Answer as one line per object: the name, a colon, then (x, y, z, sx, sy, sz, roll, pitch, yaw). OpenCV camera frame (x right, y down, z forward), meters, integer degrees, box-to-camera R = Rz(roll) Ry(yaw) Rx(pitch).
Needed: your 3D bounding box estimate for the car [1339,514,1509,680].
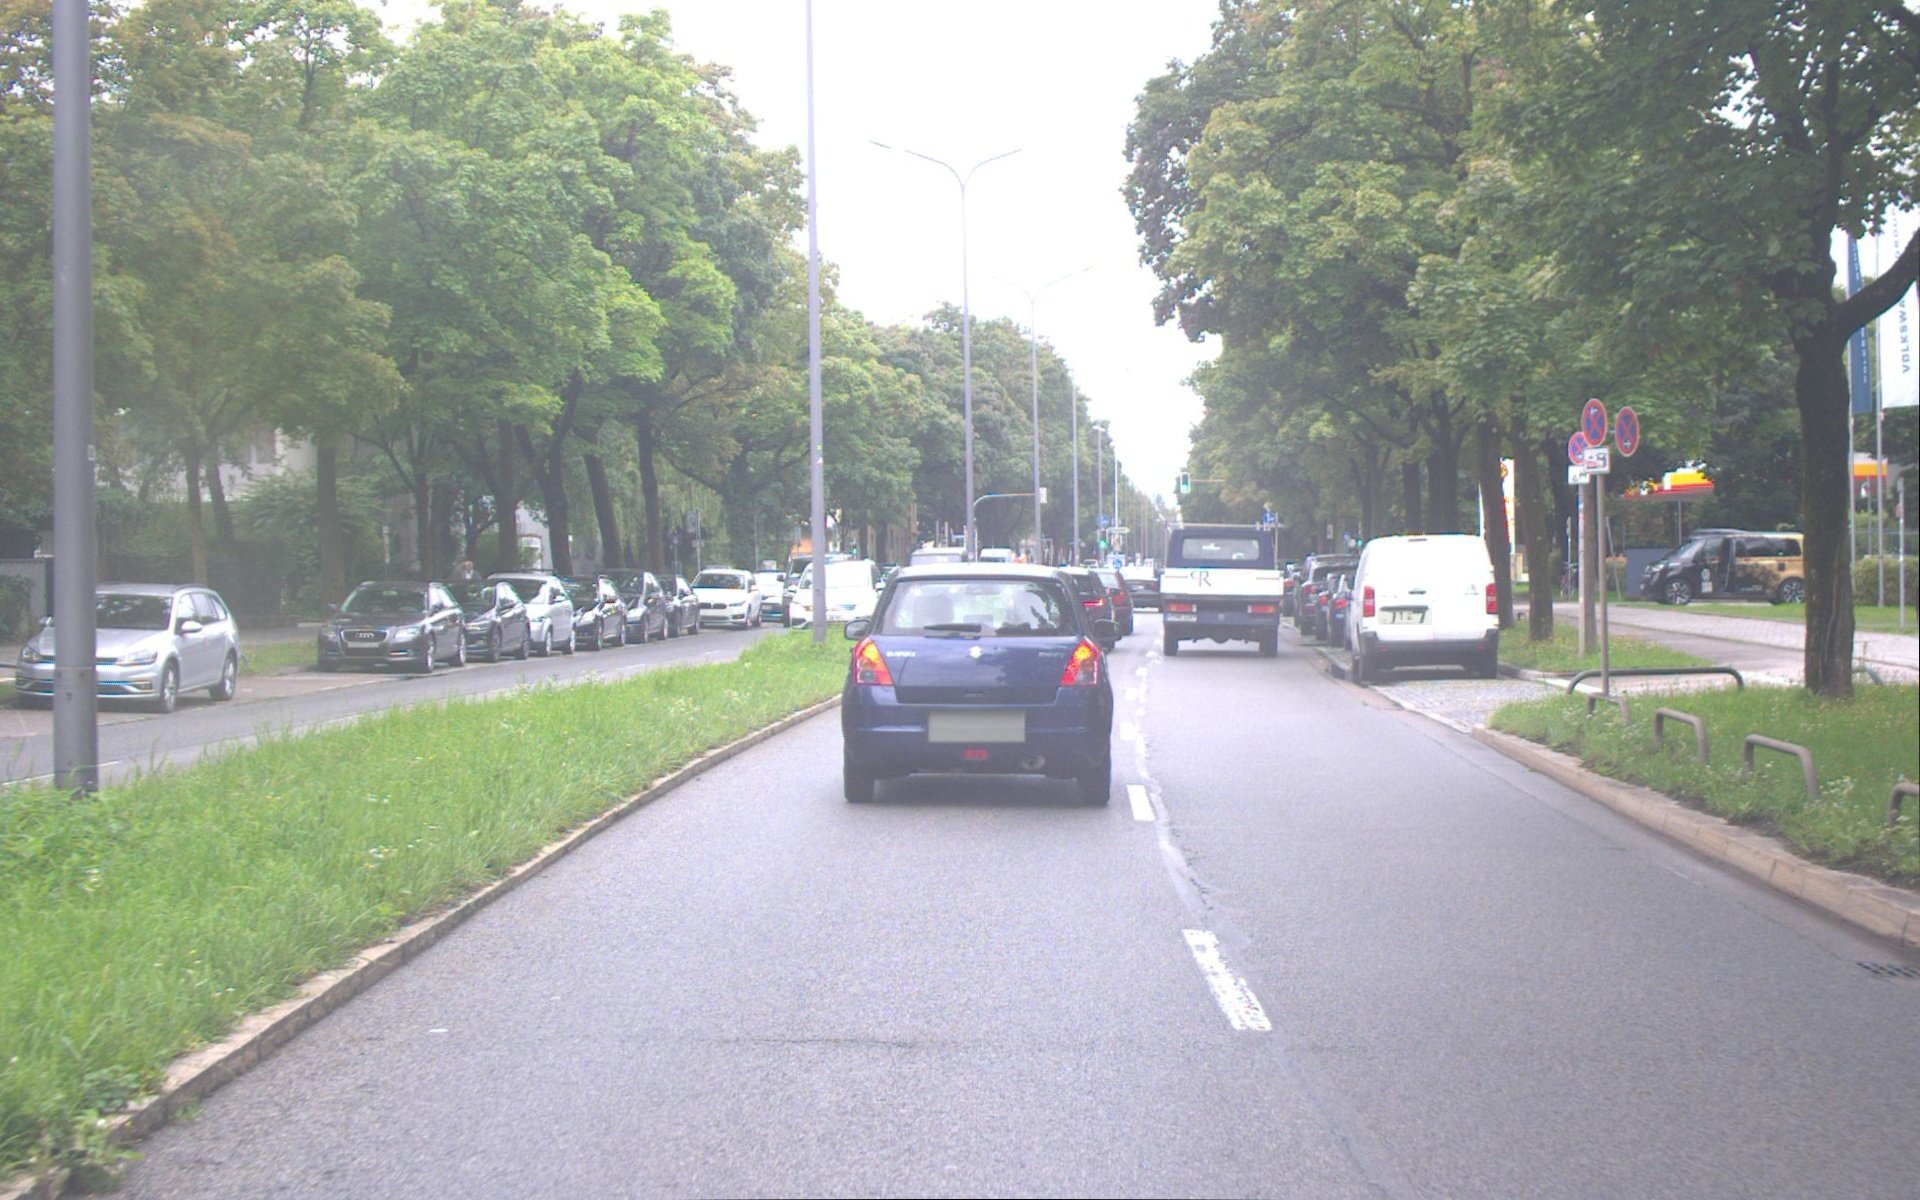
car: (6.421, -0.071, 48.085, 1.987, 2.150, 5.554, -1, 1, 4)

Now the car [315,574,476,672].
car: (-8.955, 0.331, 54.859, 1.580, 1.418, 4.362, 2, 1, 3)

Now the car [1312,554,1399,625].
car: (8.261, -0.244, 71.802, 1.702, 1.403, 4.511, -1, 1, 7)

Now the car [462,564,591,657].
car: (-8.178, 0.168, 65.118, 1.626, 1.642, 3.867, 2, 1, 5)

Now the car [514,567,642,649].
car: (-7.779, 0.134, 70.369, 1.716, 1.519, 5.034, 2, 1, 3)

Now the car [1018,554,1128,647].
car: (1.957, -0.013, 58.763, 1.799, 1.494, 3.660, -1, 1, 3)

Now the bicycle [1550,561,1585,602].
bicycle: (17.854, -0.537, 101.058, 0.748, 1.179, 2.246, -1, 1, 4)

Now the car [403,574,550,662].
car: (-8.492, 0.294, 60.711, 1.626, 1.418, 4.191, 2, 1, 5)

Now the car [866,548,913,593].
car: (-2.846, -1.209, 139.609, 1.796, 1.757, 5.058, -1, 1, 0)

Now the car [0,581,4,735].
car: (-10.554, 0.589, 32.042, 1.739, 1.524, 4.475, 1, 1, 4)

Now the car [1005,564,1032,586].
car: (4.007, -1.690, 234.610, 1.636, 1.437, 3.734, -1, 1, 4)

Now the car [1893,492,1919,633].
car: (16.726, -0.622, 54.609, 2.265, 2.299, 6.268, -1, 1, 2)

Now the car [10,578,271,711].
car: (-9.929, 0.499, 42.008, 1.736, 1.443, 4.822, 2, 1, 3)

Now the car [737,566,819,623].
car: (-5.410, -0.185, 102.629, 1.832, 1.604, 4.490, 2, 1, 5)

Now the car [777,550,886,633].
car: (-2.654, -0.197, 72.142, 1.834, 1.637, 4.350, -1, 1, 3)

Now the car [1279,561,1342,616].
car: (10.442, -0.365, 102.375, 1.780, 1.506, 4.284, -2, 0, 6)

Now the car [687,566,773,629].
car: (-6.164, -0.093, 92.479, 1.757, 1.589, 4.489, 2, 1, 3)

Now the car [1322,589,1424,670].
car: (7.812, 0.541, 65.278, 1.702, 1.416, 4.120, -1, 1, 4)

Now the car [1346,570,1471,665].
car: (7.059, 0.253, 54.395, 1.702, 1.392, 4.232, -1, 1, 4)

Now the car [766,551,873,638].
car: (-3.741, -0.178, 92.664, 2.209, 2.186, 5.799, -2, 1, 4)

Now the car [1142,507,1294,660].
car: (4.399, -0.300, 57.889, 2.419, 2.436, 5.085, 1, 1, 6)

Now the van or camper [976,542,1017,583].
van or camper: (2.285, -2.322, 214.135, 2.140, 2.467, 6.258, -1, 1, 4)

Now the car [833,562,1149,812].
car: (0.219, 0.502, 22.515, 1.896, 1.494, 3.660, 0, 1, 1)

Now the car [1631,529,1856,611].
car: (20.602, -0.787, 90.600, 5.470, 2.076, 2.147, -1, 1, 4)

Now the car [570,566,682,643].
car: (-7.345, 0.081, 75.942, 1.686, 1.591, 4.209, 2, 1, 5)

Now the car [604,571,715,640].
car: (-7.009, 0.103, 80.684, 1.760, 1.508, 4.947, 2, 1, 5)

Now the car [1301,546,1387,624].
car: (8.572, -0.356, 76.909, 1.813, 1.670, 4.799, -1, 1, 6)

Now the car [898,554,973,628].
car: (-0.667, -0.274, 97.999, 1.780, 2.022, 4.818, -1, 1, 3)
